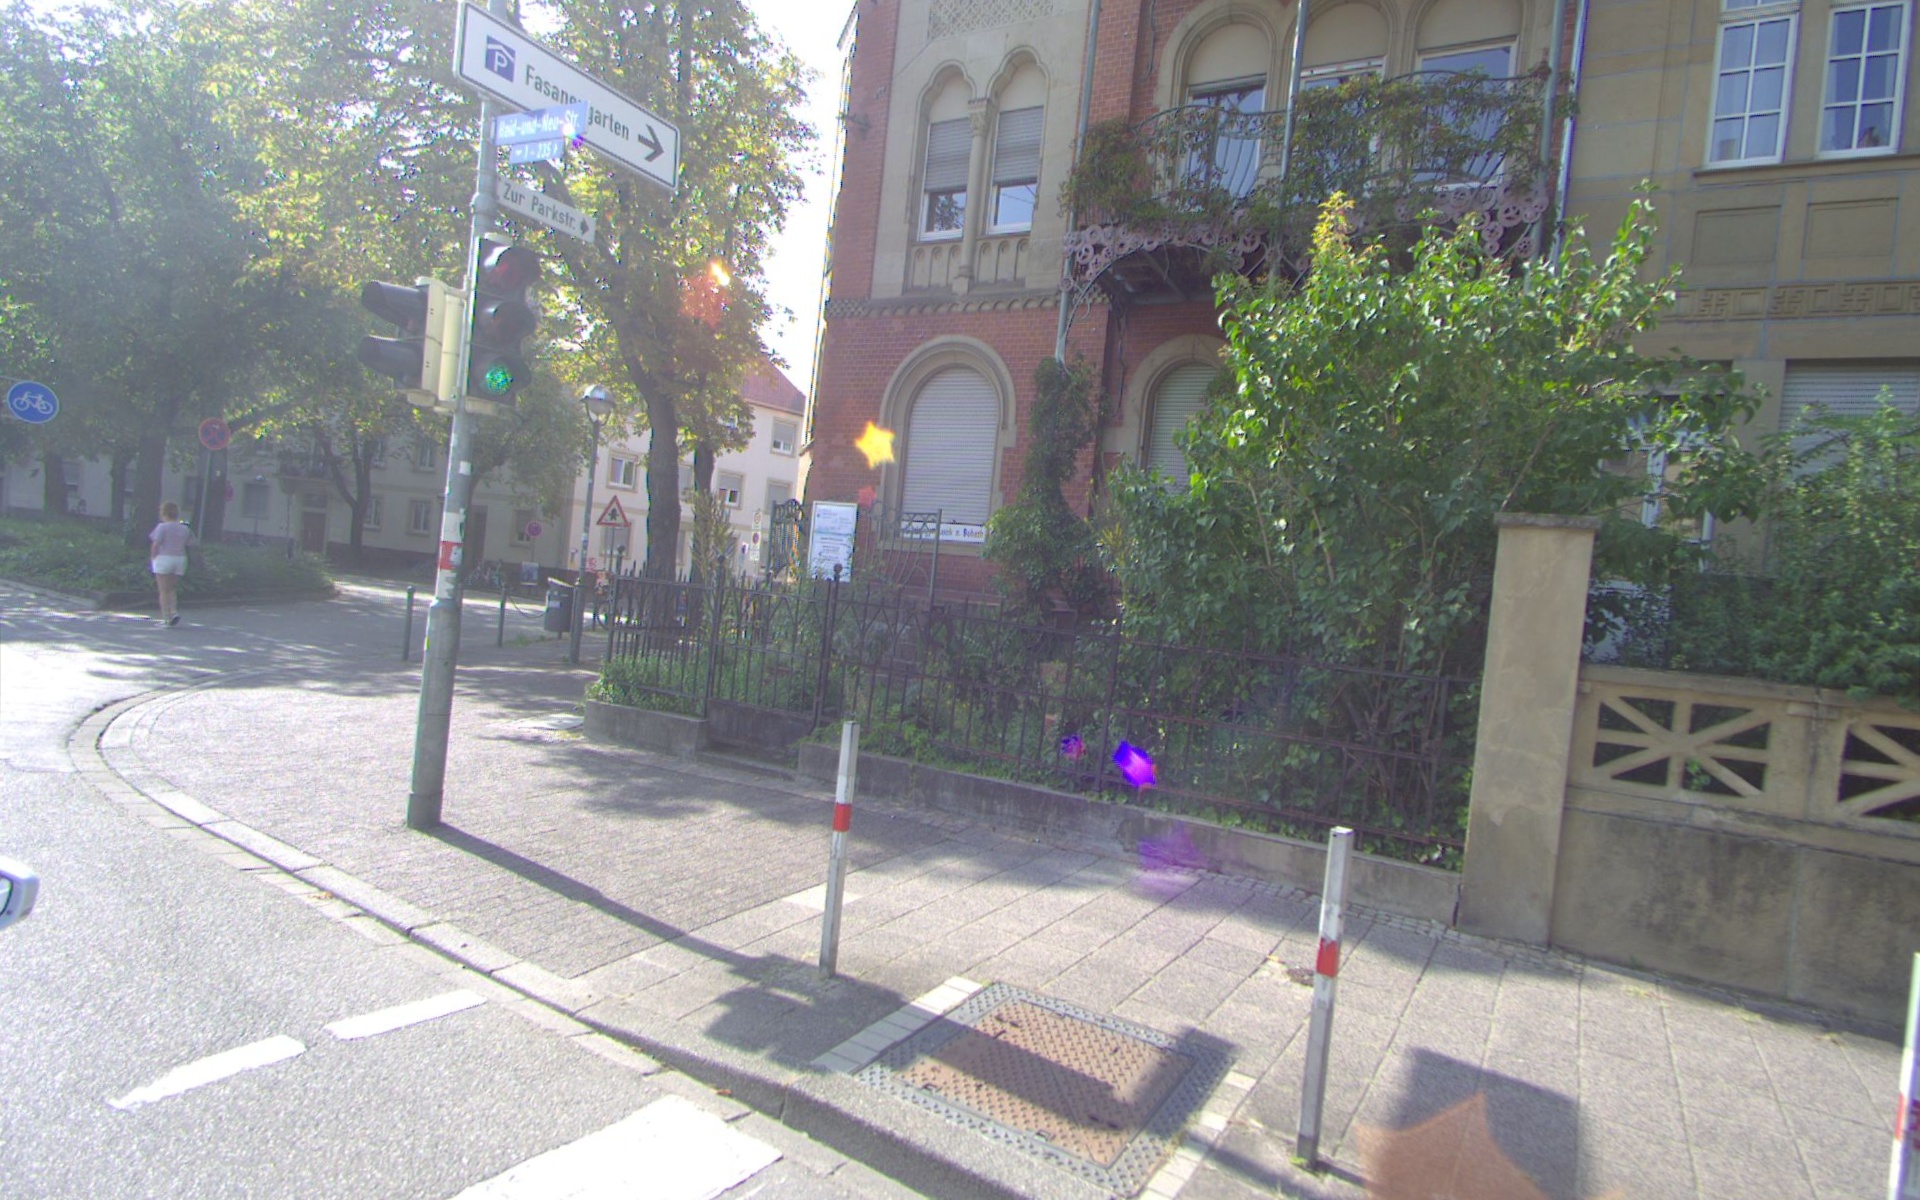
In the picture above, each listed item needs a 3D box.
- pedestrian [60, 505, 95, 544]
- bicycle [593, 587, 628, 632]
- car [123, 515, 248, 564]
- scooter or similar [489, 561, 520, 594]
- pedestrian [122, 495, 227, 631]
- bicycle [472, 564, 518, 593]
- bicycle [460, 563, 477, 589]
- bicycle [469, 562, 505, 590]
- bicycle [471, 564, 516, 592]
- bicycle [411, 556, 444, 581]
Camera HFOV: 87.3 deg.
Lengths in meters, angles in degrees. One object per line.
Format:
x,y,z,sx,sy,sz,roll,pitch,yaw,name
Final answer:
-42.367,-3.619,48.286,0.879,1.762,0.774,6,1,-12,pedestrian
-8.247,0.210,23.769,0.418,0.990,1.767,6,0,-10,bicycle
-30.930,-2.393,40.192,3.924,1.436,1.860,6,0,15,car
-18.217,-0.893,40.210,1.059,1.214,0.456,2,4,-29,scooter or similar
-10.852,-0.495,13.906,0.757,1.753,0.752,6,1,20,pedestrian
-18.688,-0.848,40.443,0.420,0.990,1.546,7,1,44,bicycle
-20.076,-0.989,41.102,0.420,0.990,1.547,5,0,-22,bicycle
-19.716,-1.008,41.969,0.417,1.052,1.556,6,0,11,bicycle
-18.864,-0.877,40.733,0.420,0.990,1.546,7,1,44,bicycle
-23.536,-1.397,44.480,1.528,0.990,0.425,6,1,27,bicycle
